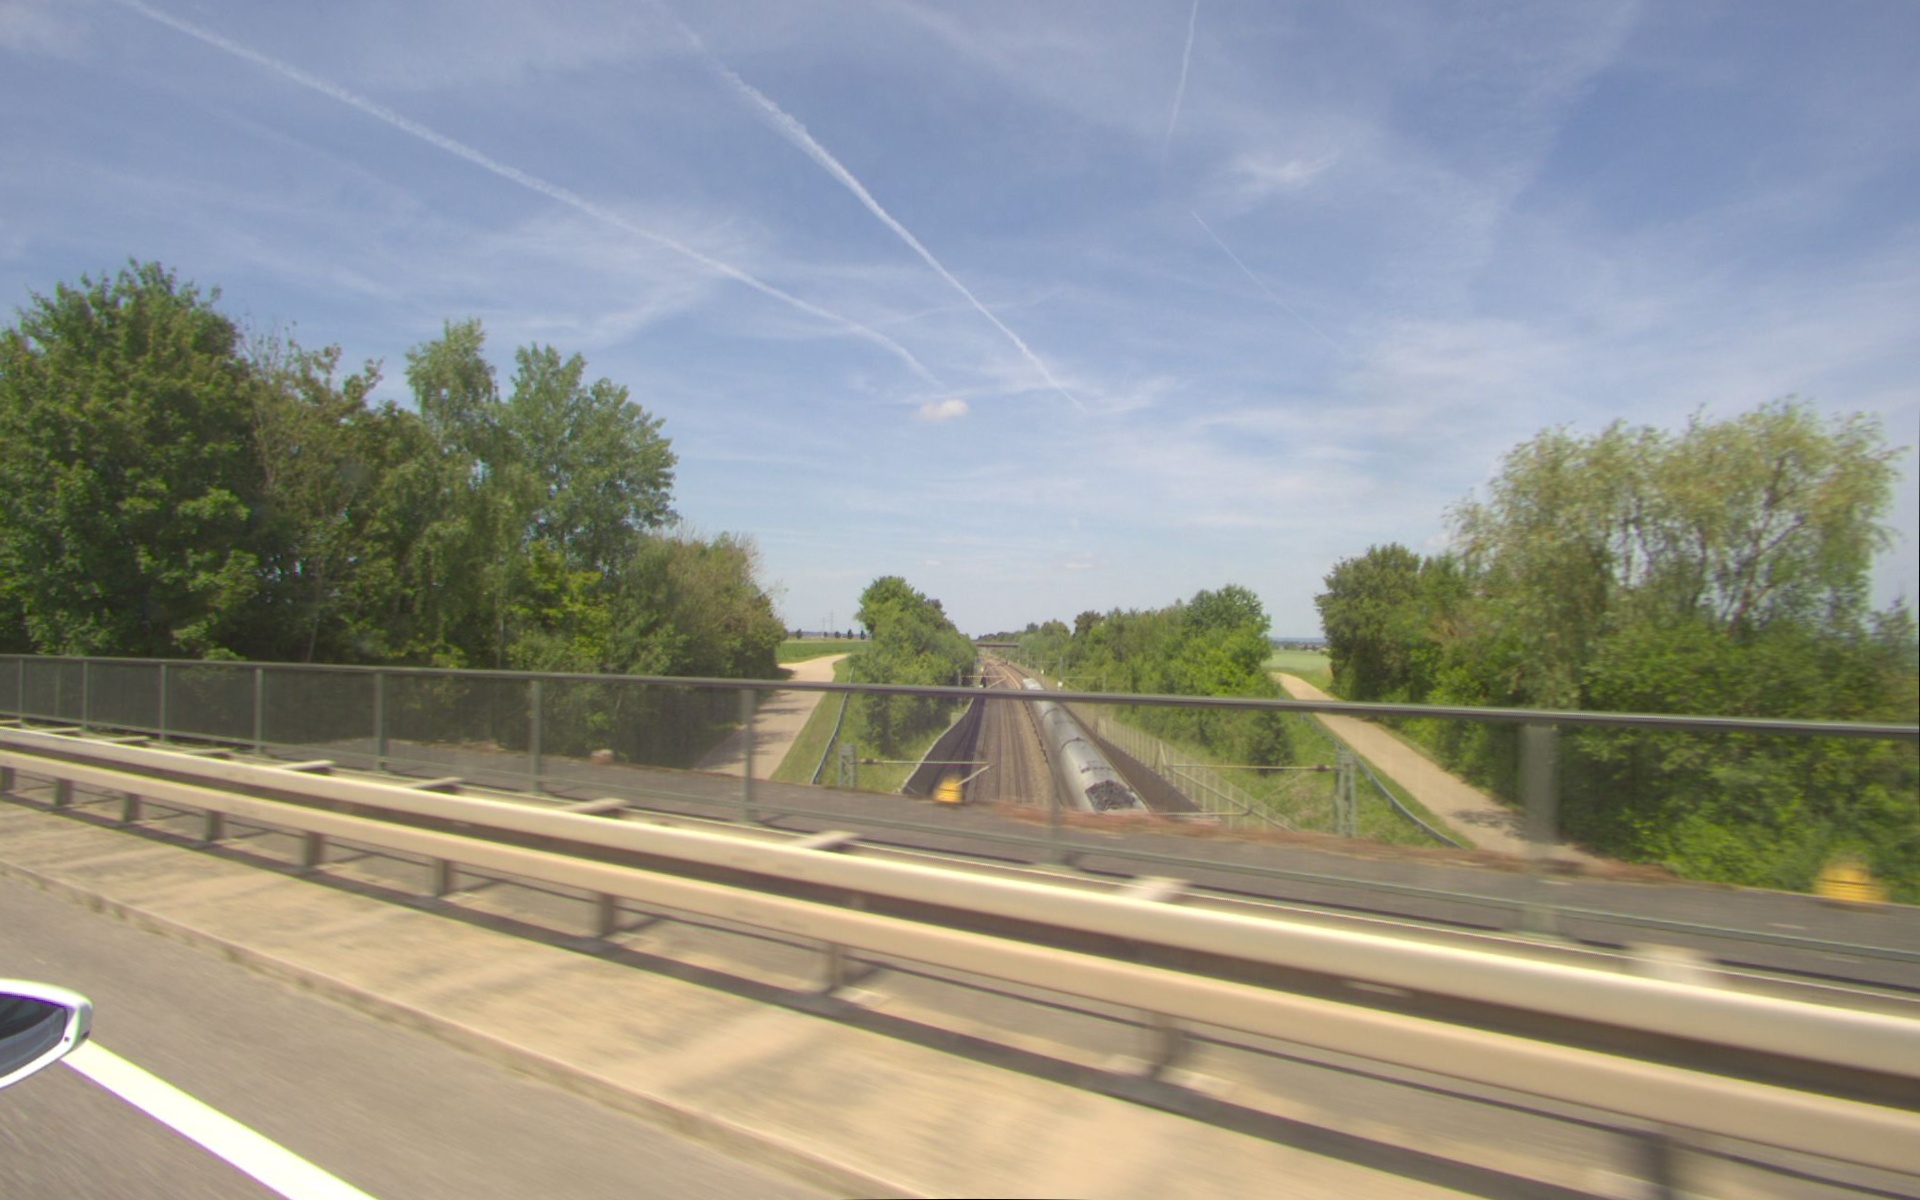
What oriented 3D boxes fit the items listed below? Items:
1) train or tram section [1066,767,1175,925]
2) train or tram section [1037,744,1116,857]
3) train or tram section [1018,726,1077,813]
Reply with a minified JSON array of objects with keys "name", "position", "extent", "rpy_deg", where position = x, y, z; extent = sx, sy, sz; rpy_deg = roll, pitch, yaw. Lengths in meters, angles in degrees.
[{"name":"train or tram section","position":[6.606,10.145,43.300],"extent":[2.504,4.283,12.459],"rpy_deg":[1,-2,-1]},{"name":"train or tram section","position":[6.231,10.776,55.601],"extent":[2.504,4.283,12.459],"rpy_deg":[1,-2,-2]},{"name":"train or tram section","position":[5.768,11.244,68.033],"extent":[2.504,4.283,12.459],"rpy_deg":[1,-2,-2]}]
